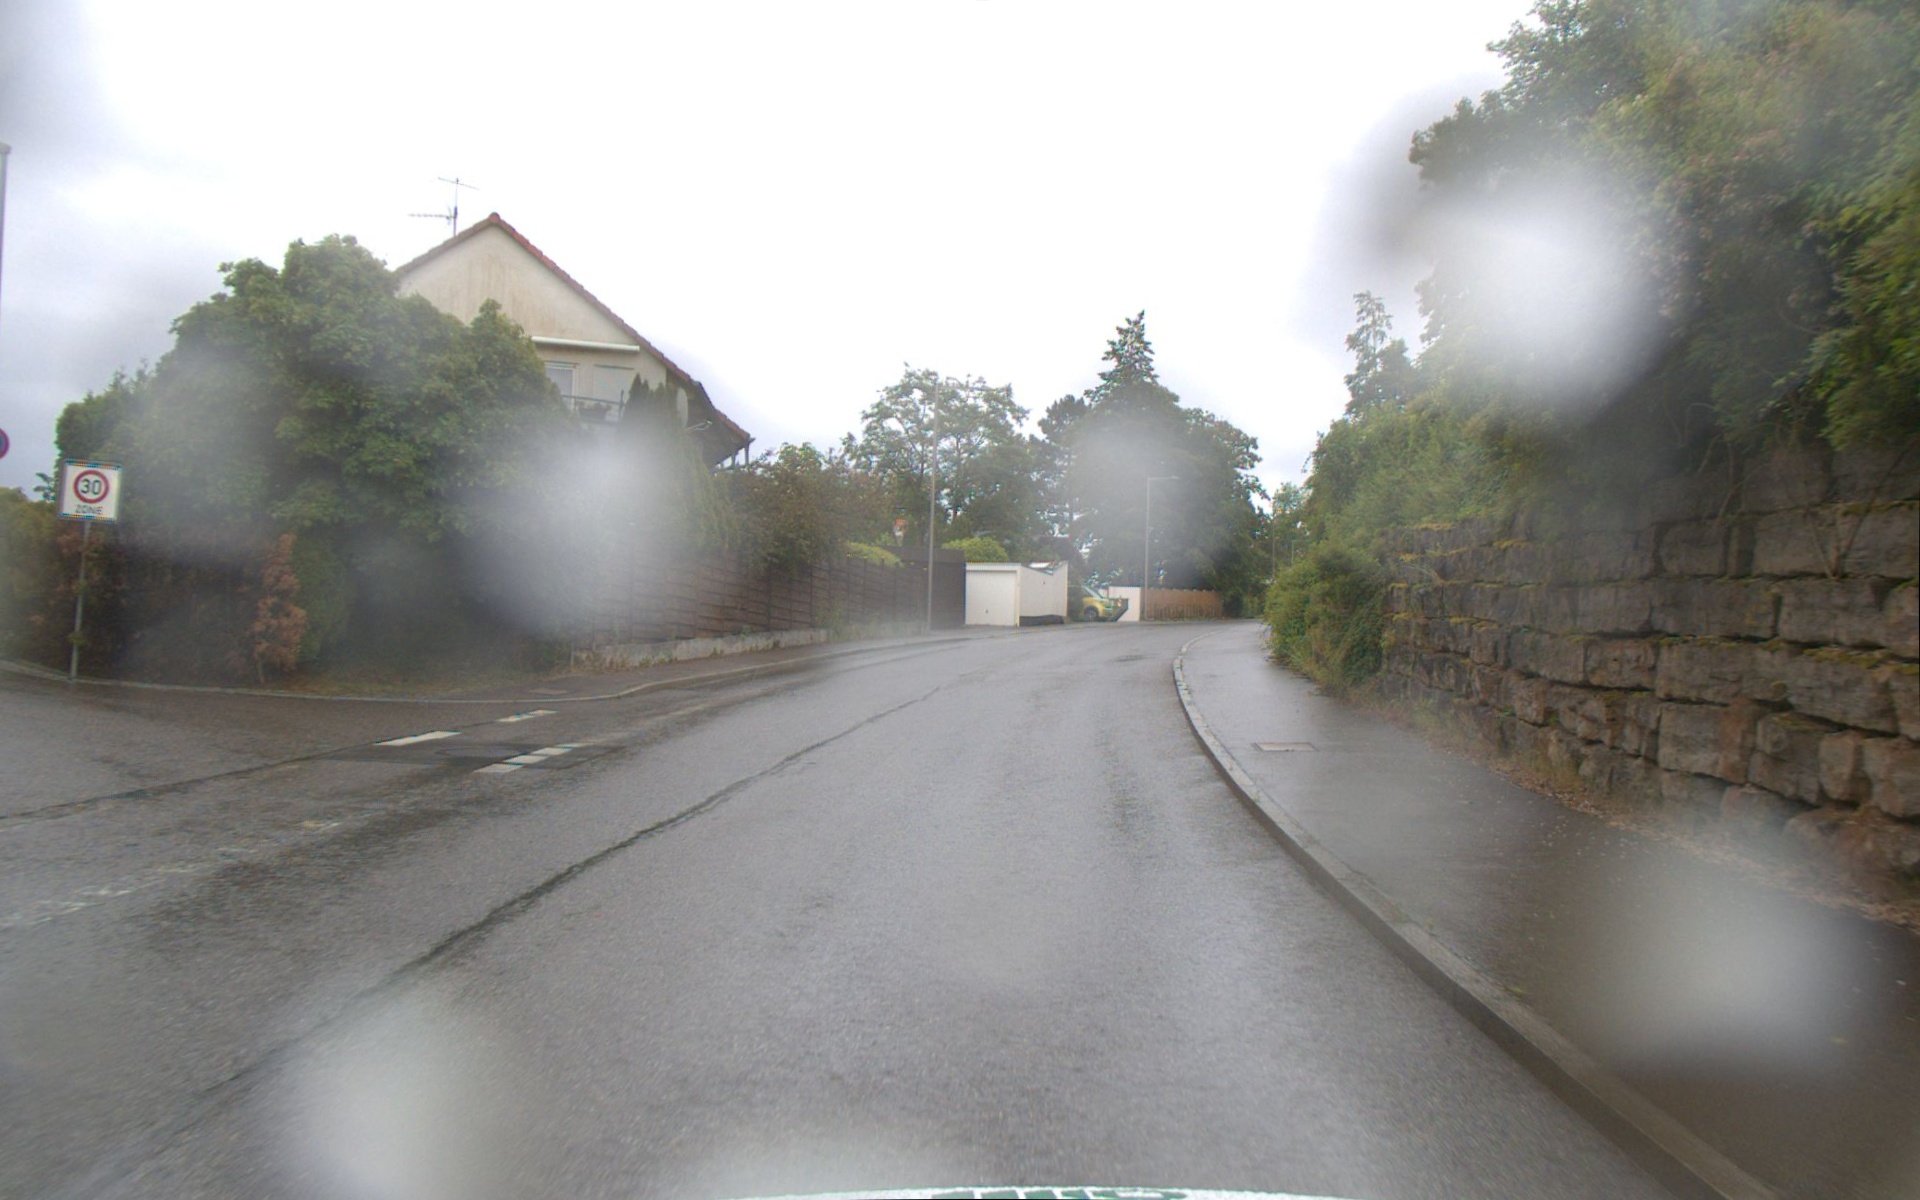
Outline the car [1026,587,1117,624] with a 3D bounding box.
[{"bbox_3d":[5.939,0.305,88.184,4.411,1.892,2.089,-1,0,22],"label":"car"}]
